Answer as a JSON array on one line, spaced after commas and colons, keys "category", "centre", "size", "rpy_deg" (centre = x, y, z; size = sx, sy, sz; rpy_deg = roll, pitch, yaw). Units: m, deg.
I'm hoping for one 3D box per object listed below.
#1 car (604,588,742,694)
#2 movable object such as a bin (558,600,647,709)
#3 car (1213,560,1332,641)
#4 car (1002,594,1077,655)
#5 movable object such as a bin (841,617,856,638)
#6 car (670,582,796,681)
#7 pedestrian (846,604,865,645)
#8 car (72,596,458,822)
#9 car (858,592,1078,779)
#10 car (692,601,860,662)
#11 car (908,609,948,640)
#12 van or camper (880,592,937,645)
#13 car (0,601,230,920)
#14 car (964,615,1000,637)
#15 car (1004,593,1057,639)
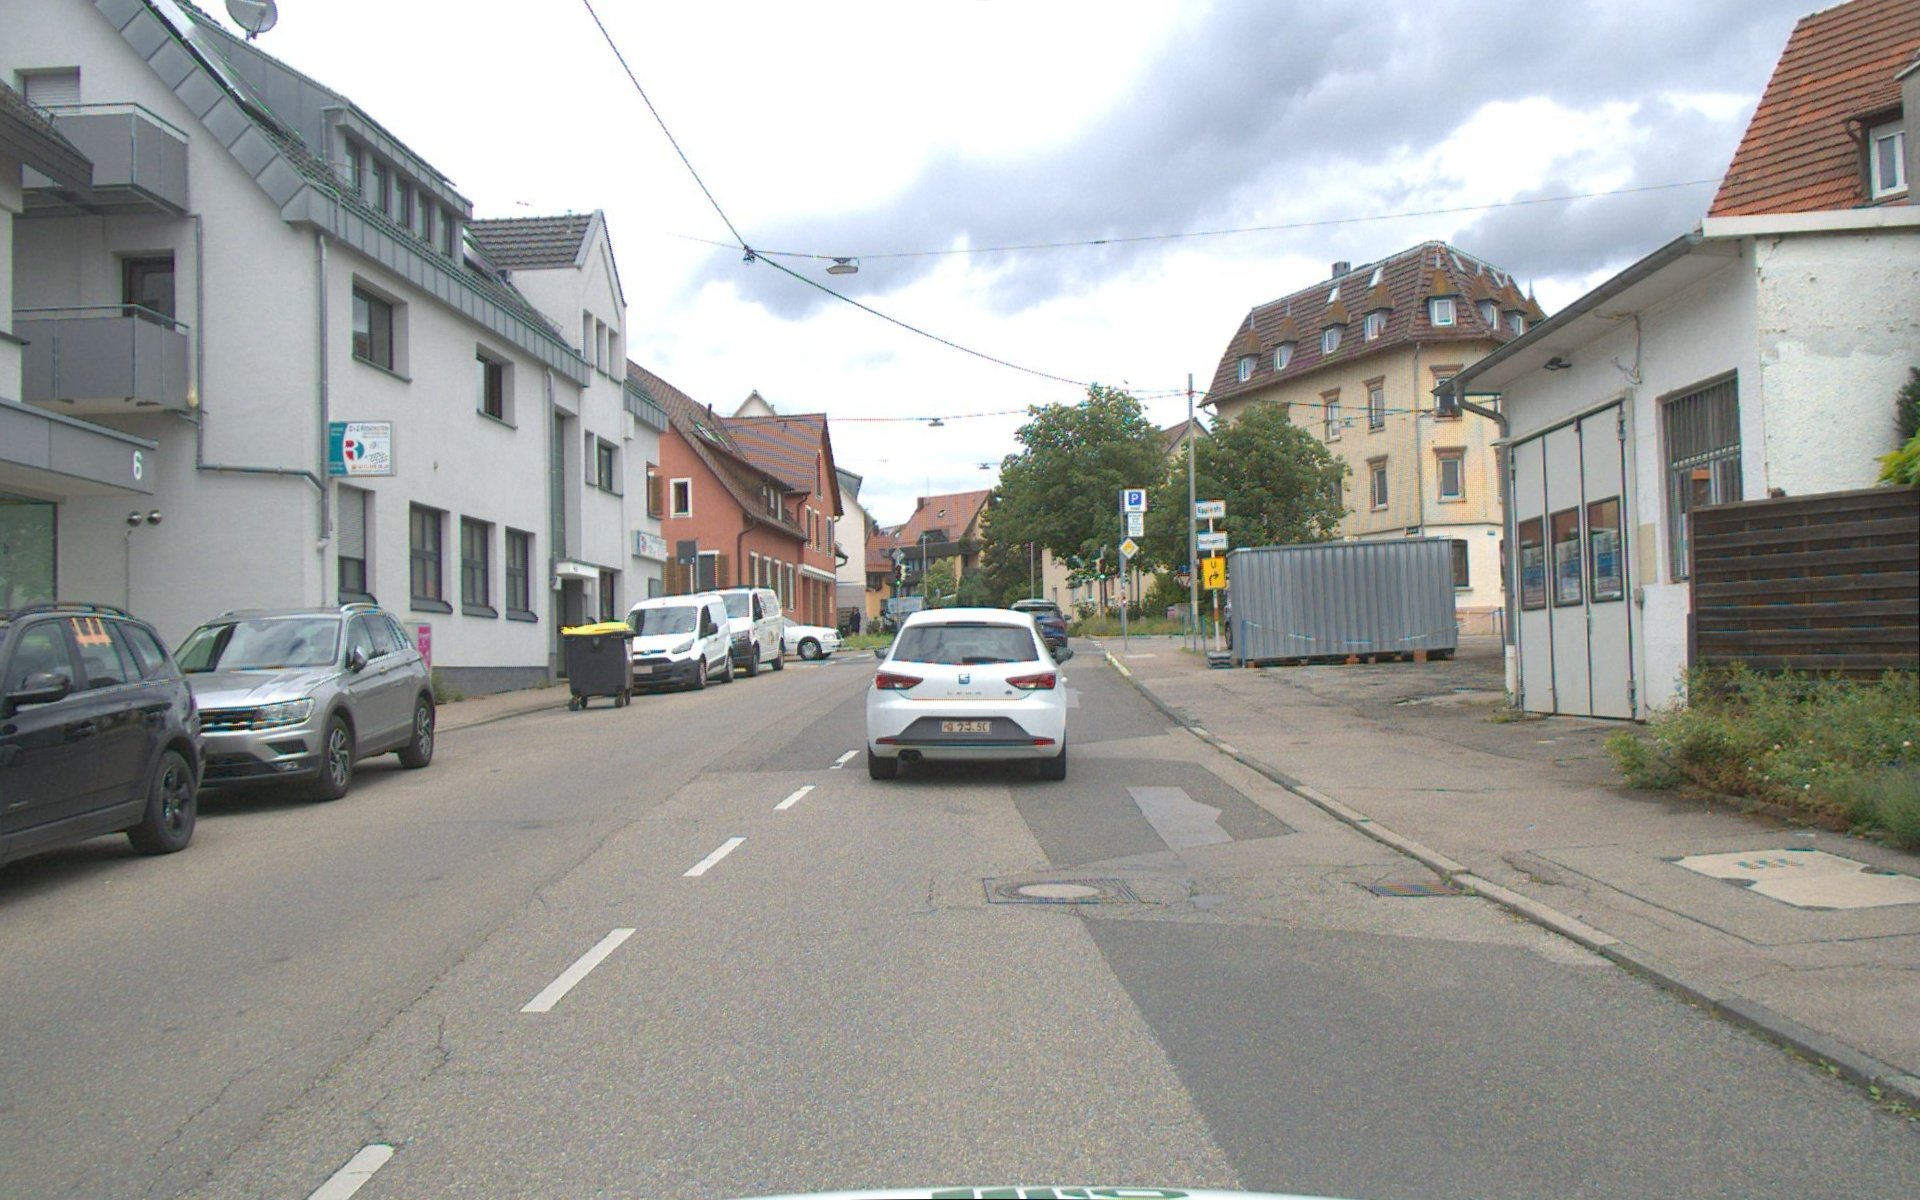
[{"category": "car", "centre": [-5.605, 0.761, 32.803], "size": [1.697, 1.863, 4.299], "rpy_deg": [-3, 0, 2]}, {"category": "movable object such as a bin", "centre": [-5.775, 0.860, 26.818], "size": [1.117, 1.661, 1.562], "rpy_deg": [-3, 0, -3]}, {"category": "car", "centre": [7.623, 0.011, 40.769], "size": [1.712, 1.770, 4.568], "rpy_deg": [-3, 0, -4]}, {"category": "car", "centre": [2.042, 0.672, 43.319], "size": [1.722, 1.477, 3.999], "rpy_deg": [-1, -2, 0]}, {"category": "movable object such as a bin", "centre": [-5.440, 1.343, 81.008], "size": [0.652, 1.036, 0.795], "rpy_deg": [-2, 0, -1]}, {"category": "car", "centre": [-5.185, 0.676, 38.422], "size": [1.774, 2.040, 4.766], "rpy_deg": [-3, 0, 5]}, {"category": "pedestrian", "centre": [-4.747, 1.099, 75.156], "size": [0.784, 1.816, 0.893], "rpy_deg": [-1, -1, 2]}, {"category": "car", "centre": [-6.083, 0.848, 15.105], "size": [1.801, 1.661, 4.405], "rpy_deg": [-3, 0, -3]}, {"category": "car", "centre": [0.205, 0.710, 15.370], "size": [1.721, 1.477, 4.002], "rpy_deg": [-1, -1, 5]}, {"category": "car", "centre": [-5.288, 0.894, 47.884], "size": [4.457, 1.470, 2.001], "rpy_deg": [-3, 0, 6]}, {"category": "car", "centre": [-1.804, 1.370, 92.454], "size": [1.959, 1.662, 4.852], "rpy_deg": [-1, -1, -5]}, {"category": "van or camper", "centre": [-2.235, 0.850, 72.871], "size": [2.031, 2.041, 4.858], "rpy_deg": [-3, -2, 2]}, {"category": "car", "centre": [-5.988, 0.887, 9.457], "size": [1.801, 1.661, 4.405], "rpy_deg": [-3, 0, -3]}, {"category": "car", "centre": [1.539, 1.853, 117.746], "size": [1.727, 1.477, 3.988], "rpy_deg": [1, -2, -12]}, {"category": "car", "centre": [2.435, 0.576, 57.381], "size": [1.722, 1.477, 4.001], "rpy_deg": [-1, -2, 2]}]
